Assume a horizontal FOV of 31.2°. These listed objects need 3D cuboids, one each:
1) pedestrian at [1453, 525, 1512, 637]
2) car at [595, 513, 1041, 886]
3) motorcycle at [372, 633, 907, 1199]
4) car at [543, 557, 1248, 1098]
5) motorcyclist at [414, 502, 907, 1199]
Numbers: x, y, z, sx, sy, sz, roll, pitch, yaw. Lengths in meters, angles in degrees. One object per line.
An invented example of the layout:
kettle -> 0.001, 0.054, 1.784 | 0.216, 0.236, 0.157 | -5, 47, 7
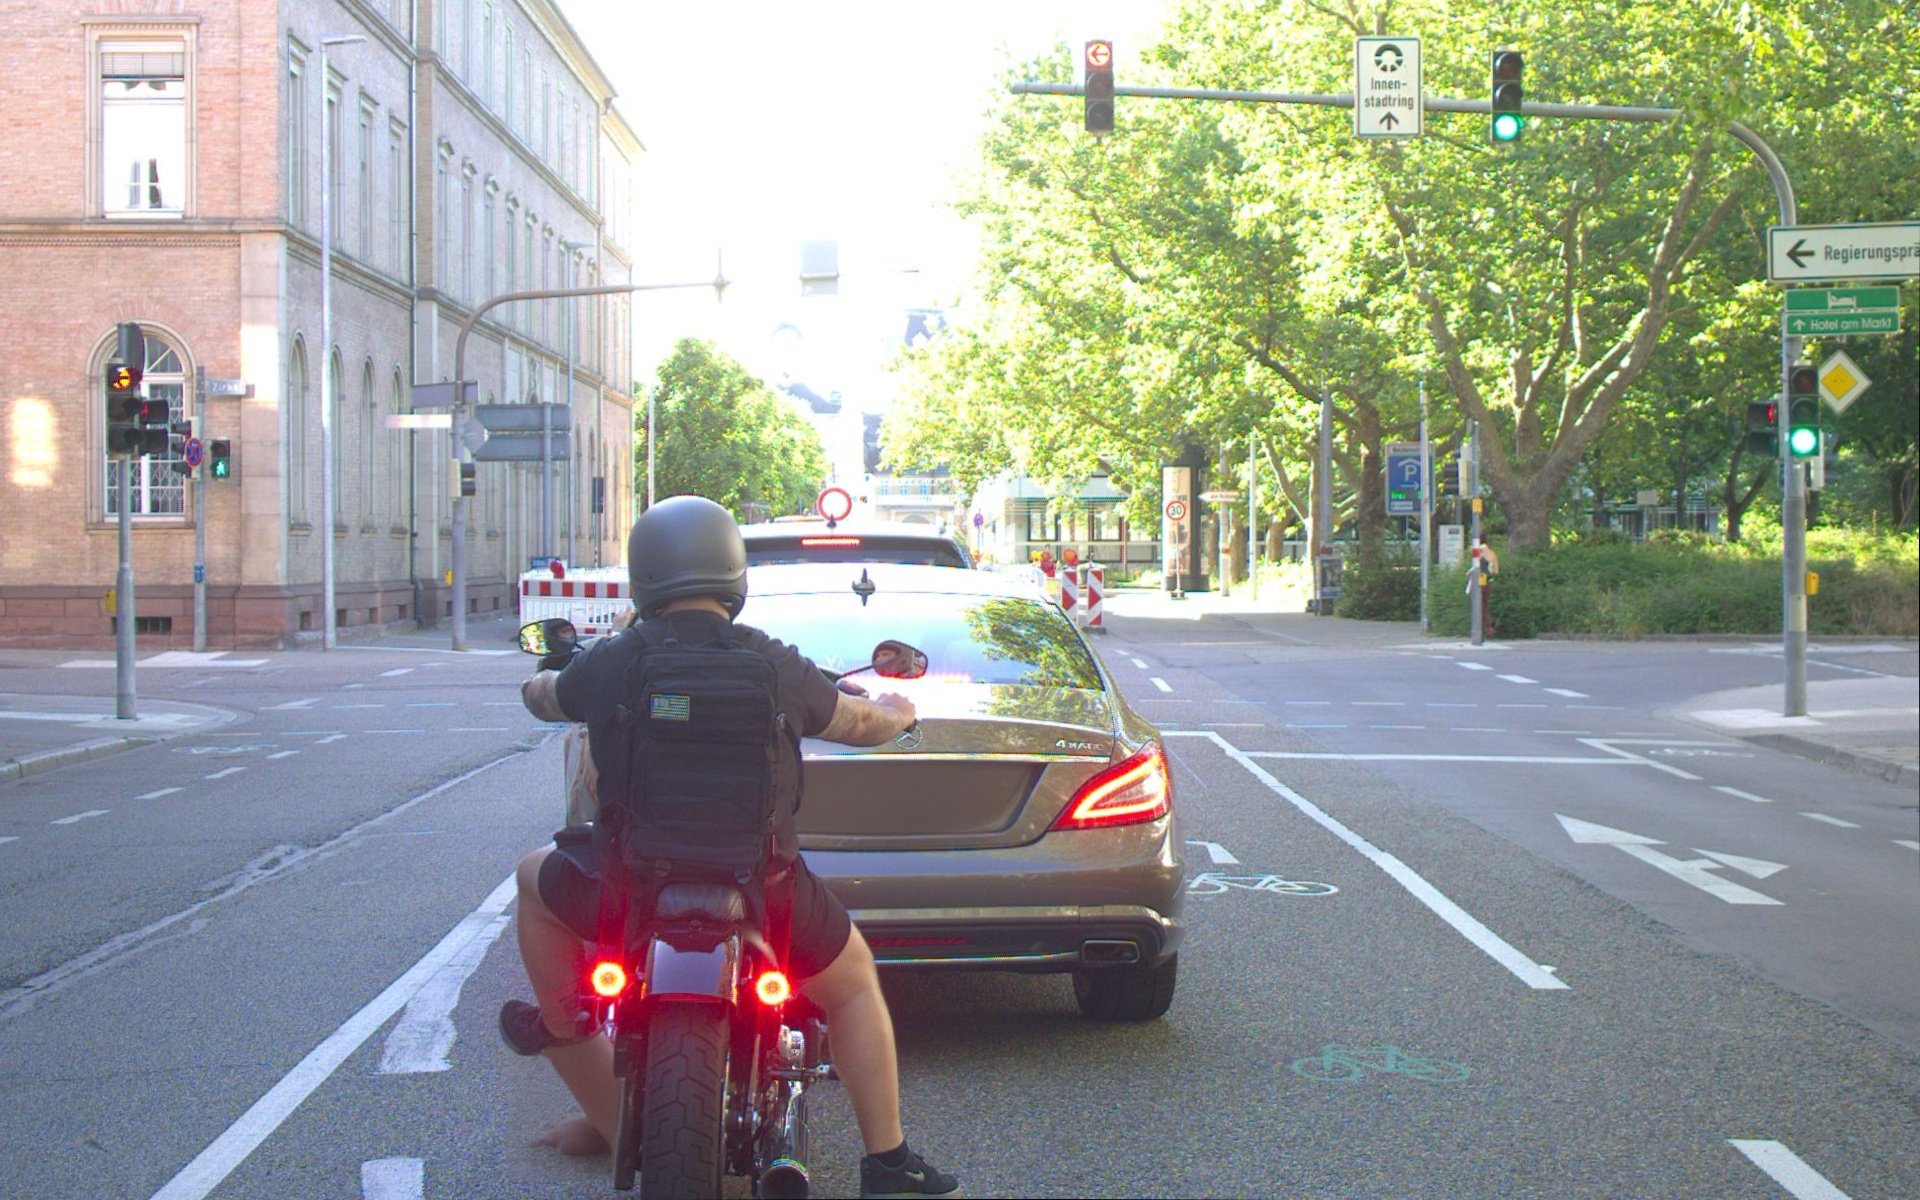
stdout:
pedestrian -> 8.315, -0.309, 54.717 | 0.615, 1.766, 0.679 | 0, 1, -40
car -> -0.665, 0.432, 17.557 | 1.993, 1.660, 4.000 | 1, 1, -1
motorcycle -> -0.611, 0.742, 7.577 | 0.980, 1.271, 2.407 | 0, 1, -1
car -> -0.431, 0.589, 11.635 | 1.869, 1.439, 4.431 | 0, 1, -8
motorcyclist -> -0.608, 0.578, 7.514 | 0.980, 1.573, 1.248 | 0, 1, -1
